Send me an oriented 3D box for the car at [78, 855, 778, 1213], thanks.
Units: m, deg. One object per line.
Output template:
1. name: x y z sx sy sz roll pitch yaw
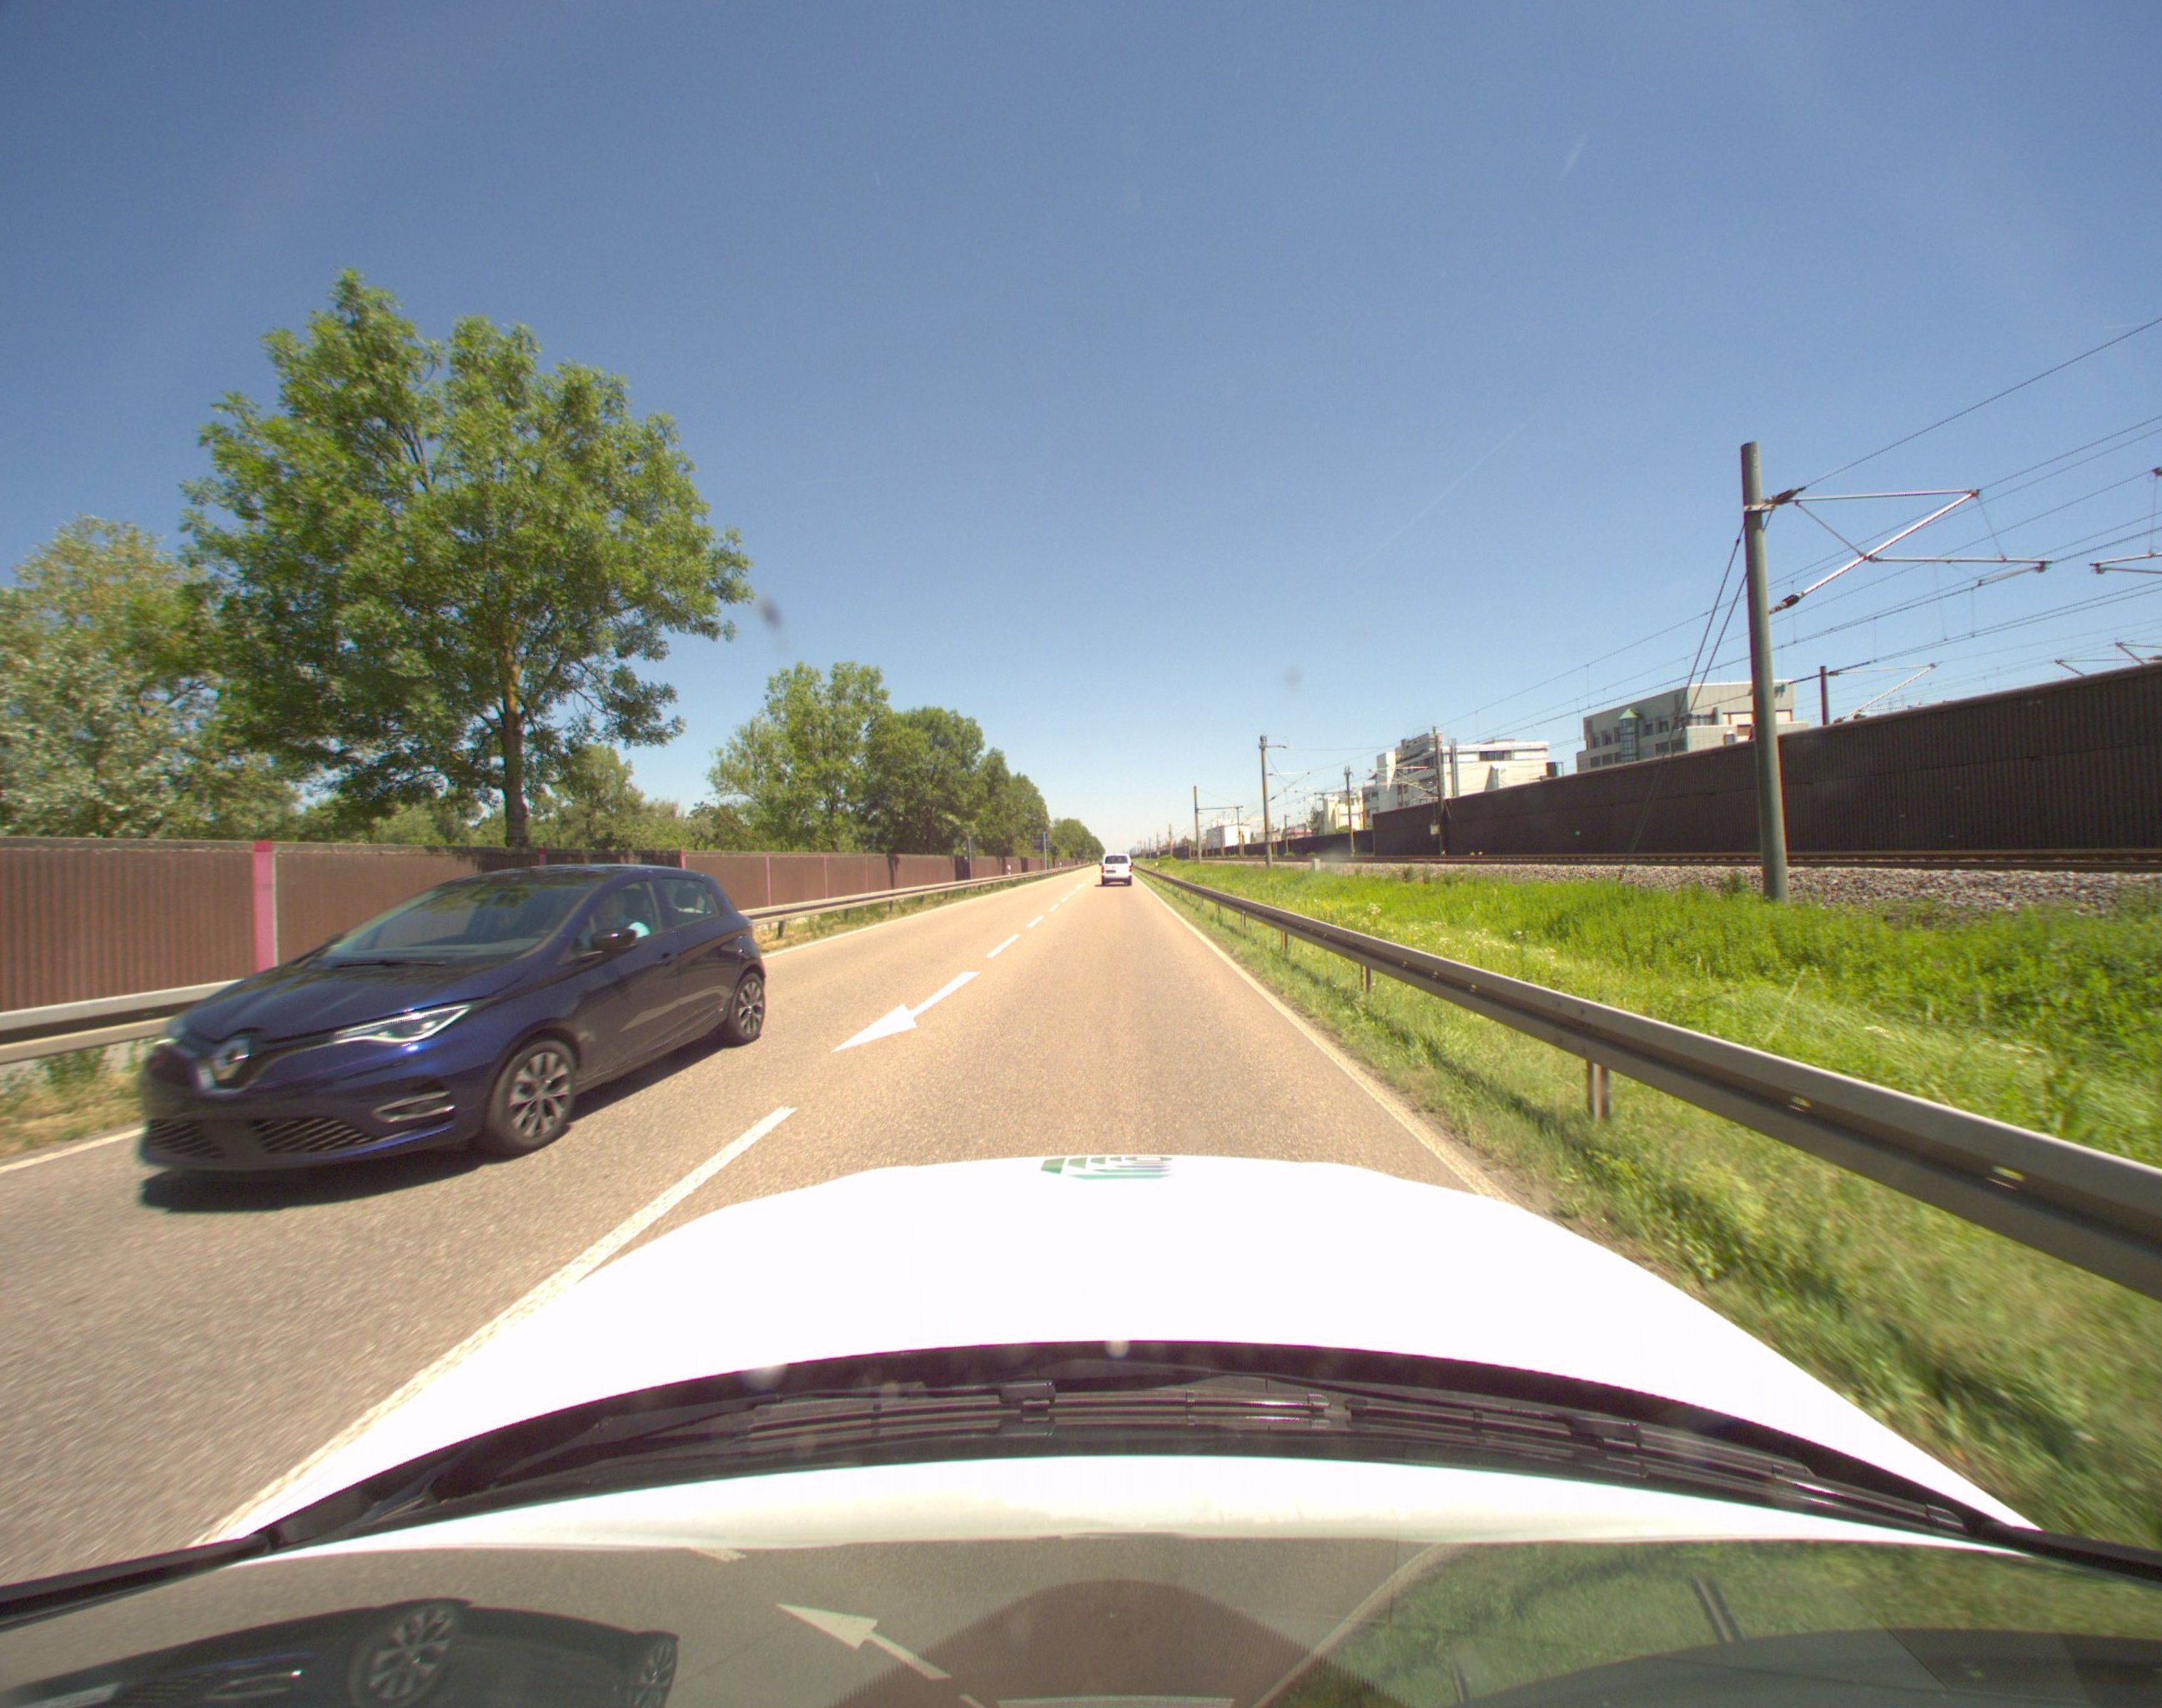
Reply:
1. car: -3.692 0.827 5.595 1.616 1.577 3.765 -2 0 3

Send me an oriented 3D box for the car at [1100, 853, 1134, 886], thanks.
1. car: 2.245 0.924 50.420 1.938 1.881 4.883 -1 -1 2
